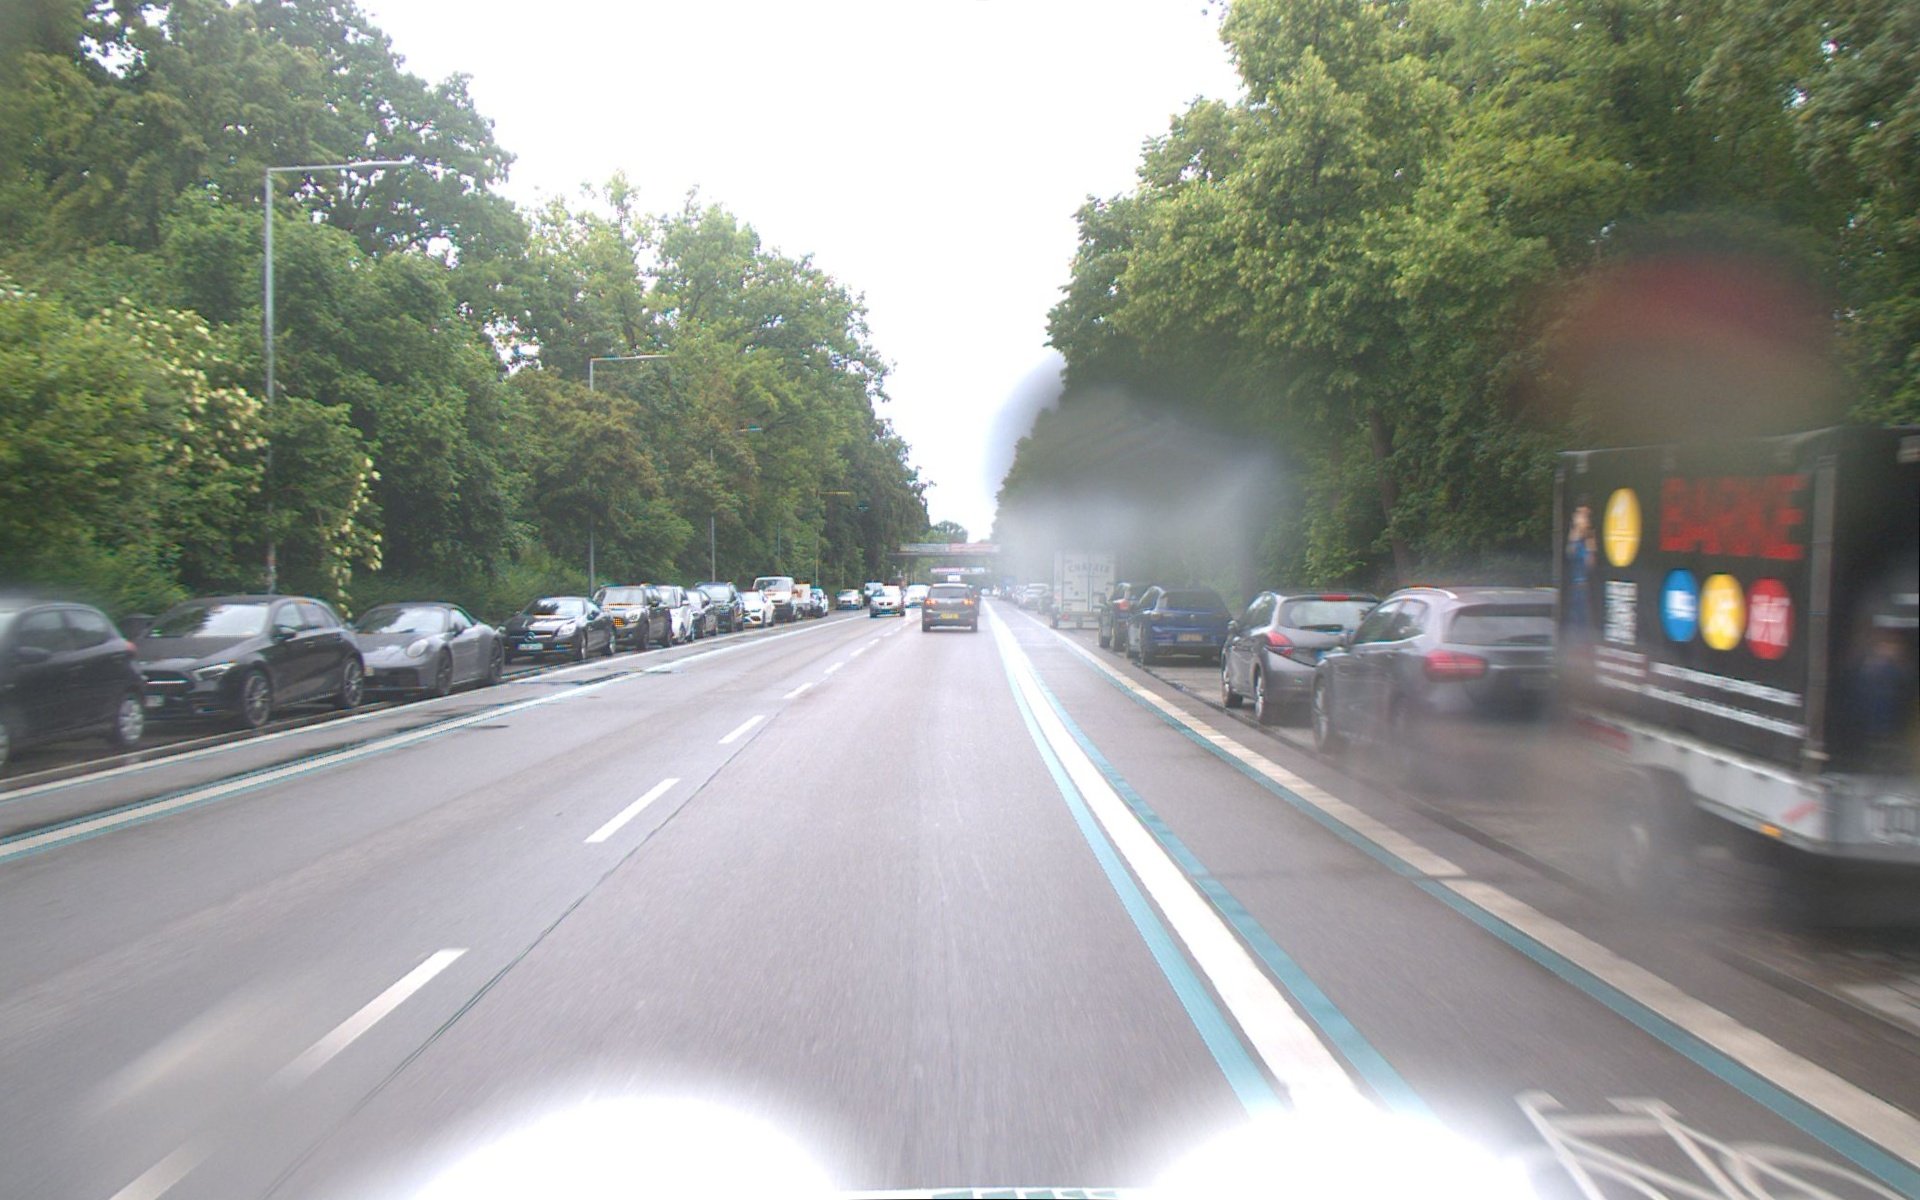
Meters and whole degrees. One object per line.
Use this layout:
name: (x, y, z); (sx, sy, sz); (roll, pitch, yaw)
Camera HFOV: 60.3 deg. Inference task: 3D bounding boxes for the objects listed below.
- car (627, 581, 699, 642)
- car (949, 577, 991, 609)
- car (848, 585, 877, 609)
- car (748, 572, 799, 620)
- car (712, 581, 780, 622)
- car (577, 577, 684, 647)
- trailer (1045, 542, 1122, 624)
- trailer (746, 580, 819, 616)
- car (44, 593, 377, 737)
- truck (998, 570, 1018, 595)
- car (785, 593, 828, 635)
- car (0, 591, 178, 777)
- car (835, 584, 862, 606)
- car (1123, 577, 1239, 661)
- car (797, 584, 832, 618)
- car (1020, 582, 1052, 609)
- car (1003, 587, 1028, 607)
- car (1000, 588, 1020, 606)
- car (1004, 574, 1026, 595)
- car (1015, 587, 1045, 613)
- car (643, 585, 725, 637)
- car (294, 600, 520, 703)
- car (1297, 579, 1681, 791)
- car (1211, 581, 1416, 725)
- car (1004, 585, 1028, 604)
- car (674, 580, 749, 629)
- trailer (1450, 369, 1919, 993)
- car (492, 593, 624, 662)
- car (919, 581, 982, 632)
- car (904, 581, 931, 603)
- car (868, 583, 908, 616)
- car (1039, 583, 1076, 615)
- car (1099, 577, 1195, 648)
car: (-8.013, 0.287, 44.814); (1.431, 1.598, 2.984); (0, 0, -1)
car: (0.470, -0.369, 81.231); (1.843, 1.491, 3.998); (2, 1, -3)
car: (-8.400, -0.299, 142.666); (2.114, 2.049, 5.032); (0, 1, 1)
car: (-8.199, -0.179, 73.156); (1.901, 2.049, 4.738); (0, 1, -2)
car: (-8.090, 0.043, 62.779); (1.952, 1.514, 4.469); (0, 0, 1)
car: (-7.968, 0.267, 40.324); (1.661, 1.611, 4.140); (0, 1, 2)
trailer: (4.071, -0.557, 55.030); (2.089, 2.605, 4.296); (0, 0, -2)
trailer: (-8.356, -0.127, 78.105); (1.595, 1.657, 3.665); (0, 1, 31)
car: (-8.638, 0.679, 19.515); (1.952, 1.477, 4.139); (0, 1, 1)
truck: (5.186, -1.863, 178.270); (2.069, 2.644, 4.301); (0, 0, 1)
car: (-7.746, 0.682, 83.768); (1.901, 2.049, 4.738); (0, 1, -2)
car: (-8.797, 0.702, 14.868); (1.569, 1.536, 3.977); (0, 1, 1)
car: (-7.953, -0.350, 118.152); (1.638, 1.540, 3.630); (0, 1, 0)
car: (4.217, 0.312, 32.164); (1.647, 1.507, 4.318); (0, 1, 0)
car: (-7.922, 0.062, 89.980); (1.543, 1.801, 3.415); (0, 0, 1)
car: (4.749, -0.275, 103.516); (1.858, 1.634, 4.000); (0, 1, 1)
car: (4.469, -0.254, 134.034); (1.952, 1.590, 4.000); (0, 1, 1)
car: (5.173, -0.311, 170.675); (1.952, 1.803, 4.000); (-2, 0, 1)
car: (5.390, -1.511, 163.157); (1.953, 2.049, 3.999); (0, 0, -1)
car: (4.562, -0.037, 108.134); (1.858, 1.634, 4.000); (0, 1, 1)
car: (-8.306, 0.303, 50.162); (1.771, 1.514, 4.468); (0, 0, -1)
car: (-7.988, 0.692, 24.349); (1.831, 1.326, 4.470); (0, 1, 0)
car: (4.175, 0.573, 13.858); (1.759, 1.475, 4.428); (0, 1, -1)
car: (4.041, 0.548, 19.478); (1.582, 1.496, 4.000); (1, 0, 1)
car: (4.678, -0.453, 138.827); (1.952, 1.590, 4.000); (0, 1, 1)
car: (-8.393, 0.122, 56.284); (1.841, 1.589, 4.469); (0, 0, 1)
trailer: (4.162, 0.271, 8.467); (1.867, 2.287, 4.767); (0, 1, -1)
car: (-8.391, 0.538, 34.859); (1.661, 1.323, 4.193); (0, 1, 2)
car: (-0.323, 0.226, 51.539); (1.833, 1.466, 4.294); (1, -1, -2)
car: (-2.974, -0.580, 116.713); (1.798, 1.544, 4.000); (-1, 1, -1)
car: (-3.422, -0.034, 79.178); (1.664, 1.510, 4.035); (-1, 1, 0)
car: (4.897, -0.078, 83.803); (1.686, 1.552, 4.000); (0, 1, 1)
car: (4.198, 0.254, 37.598); (1.678, 1.539, 3.975); (0, 1, -1)
